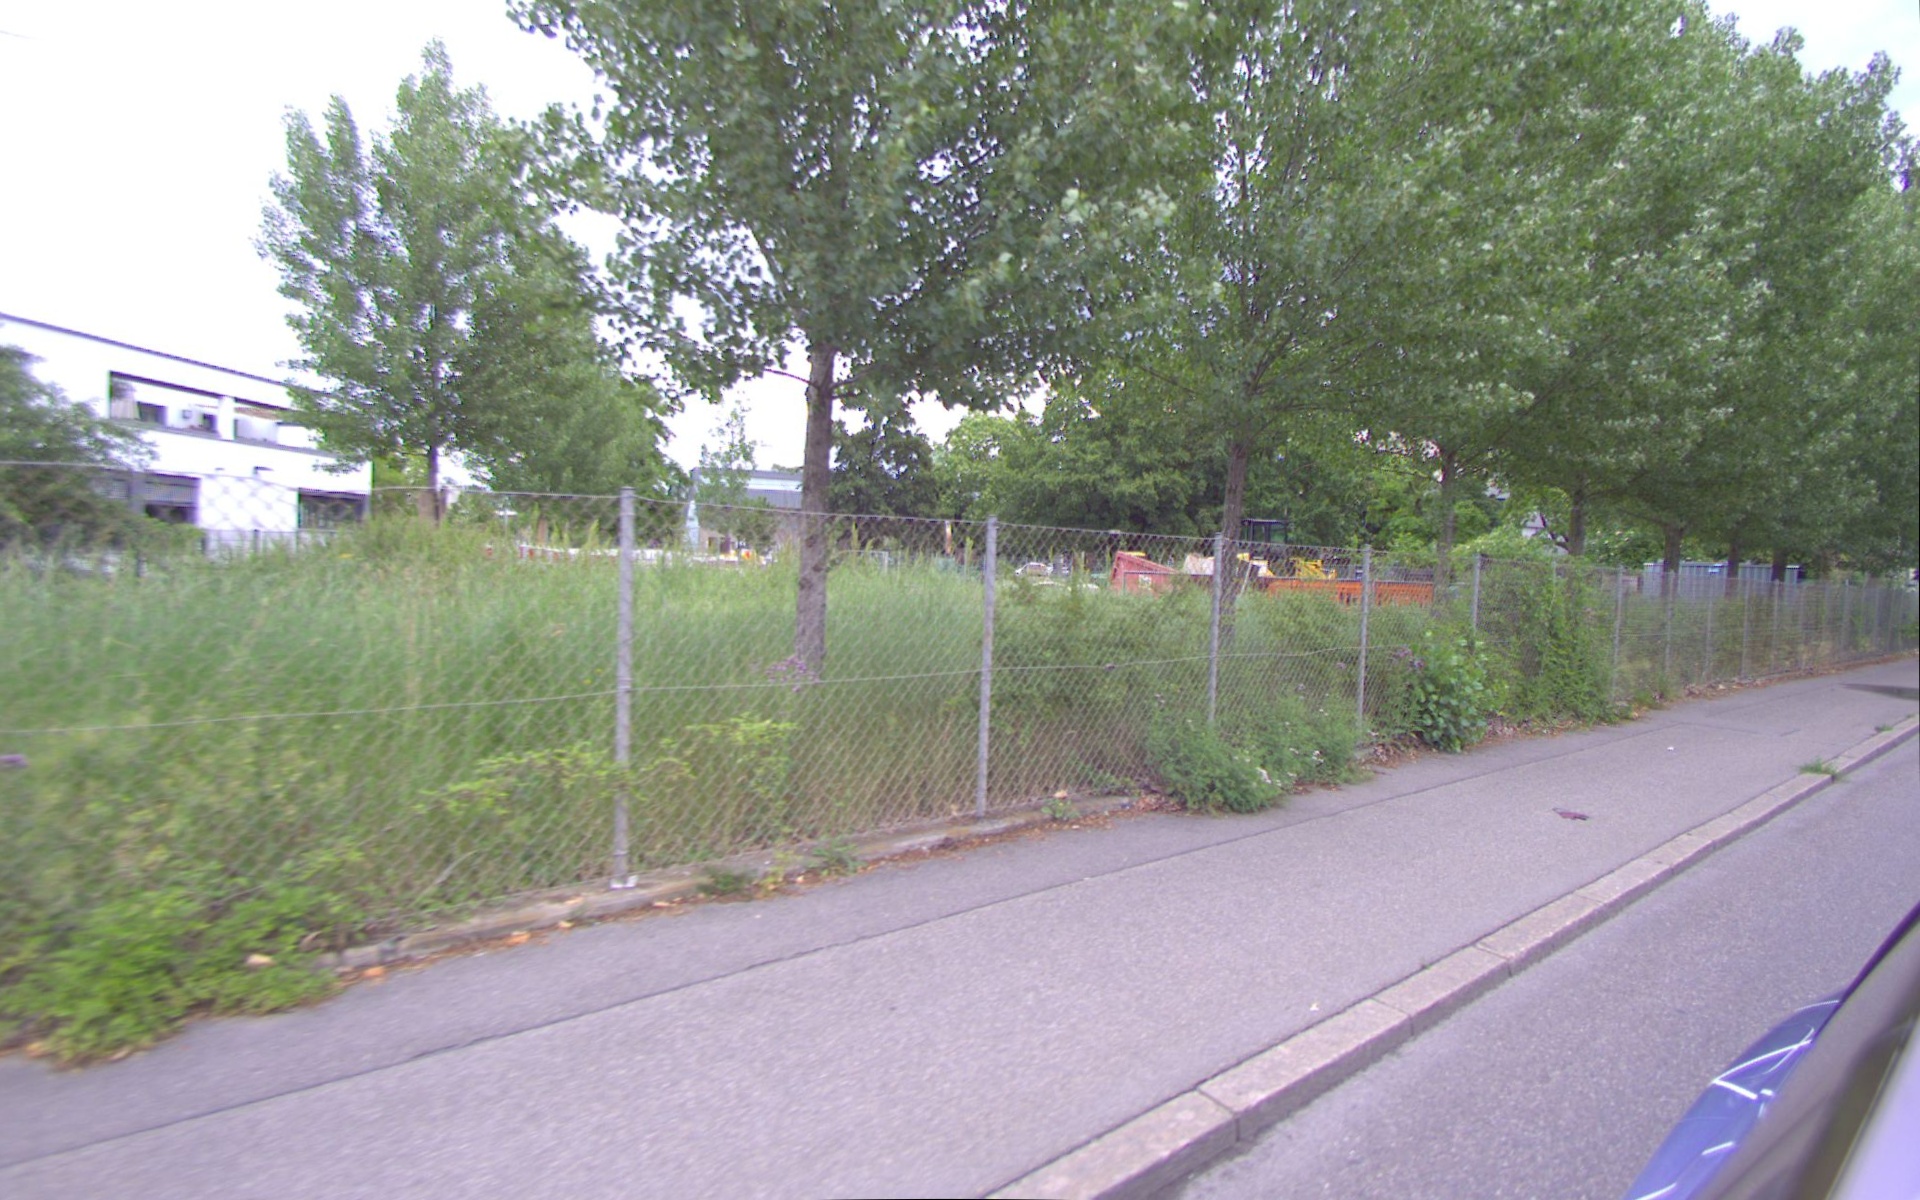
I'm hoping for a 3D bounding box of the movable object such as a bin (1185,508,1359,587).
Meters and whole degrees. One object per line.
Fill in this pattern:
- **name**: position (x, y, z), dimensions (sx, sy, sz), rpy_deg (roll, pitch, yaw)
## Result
- **movable object such as a bin**: position (8.661, -1.506, 28.204), dimensions (4.205, 2.037, 2.006), rpy_deg (-2, 4, -16)
